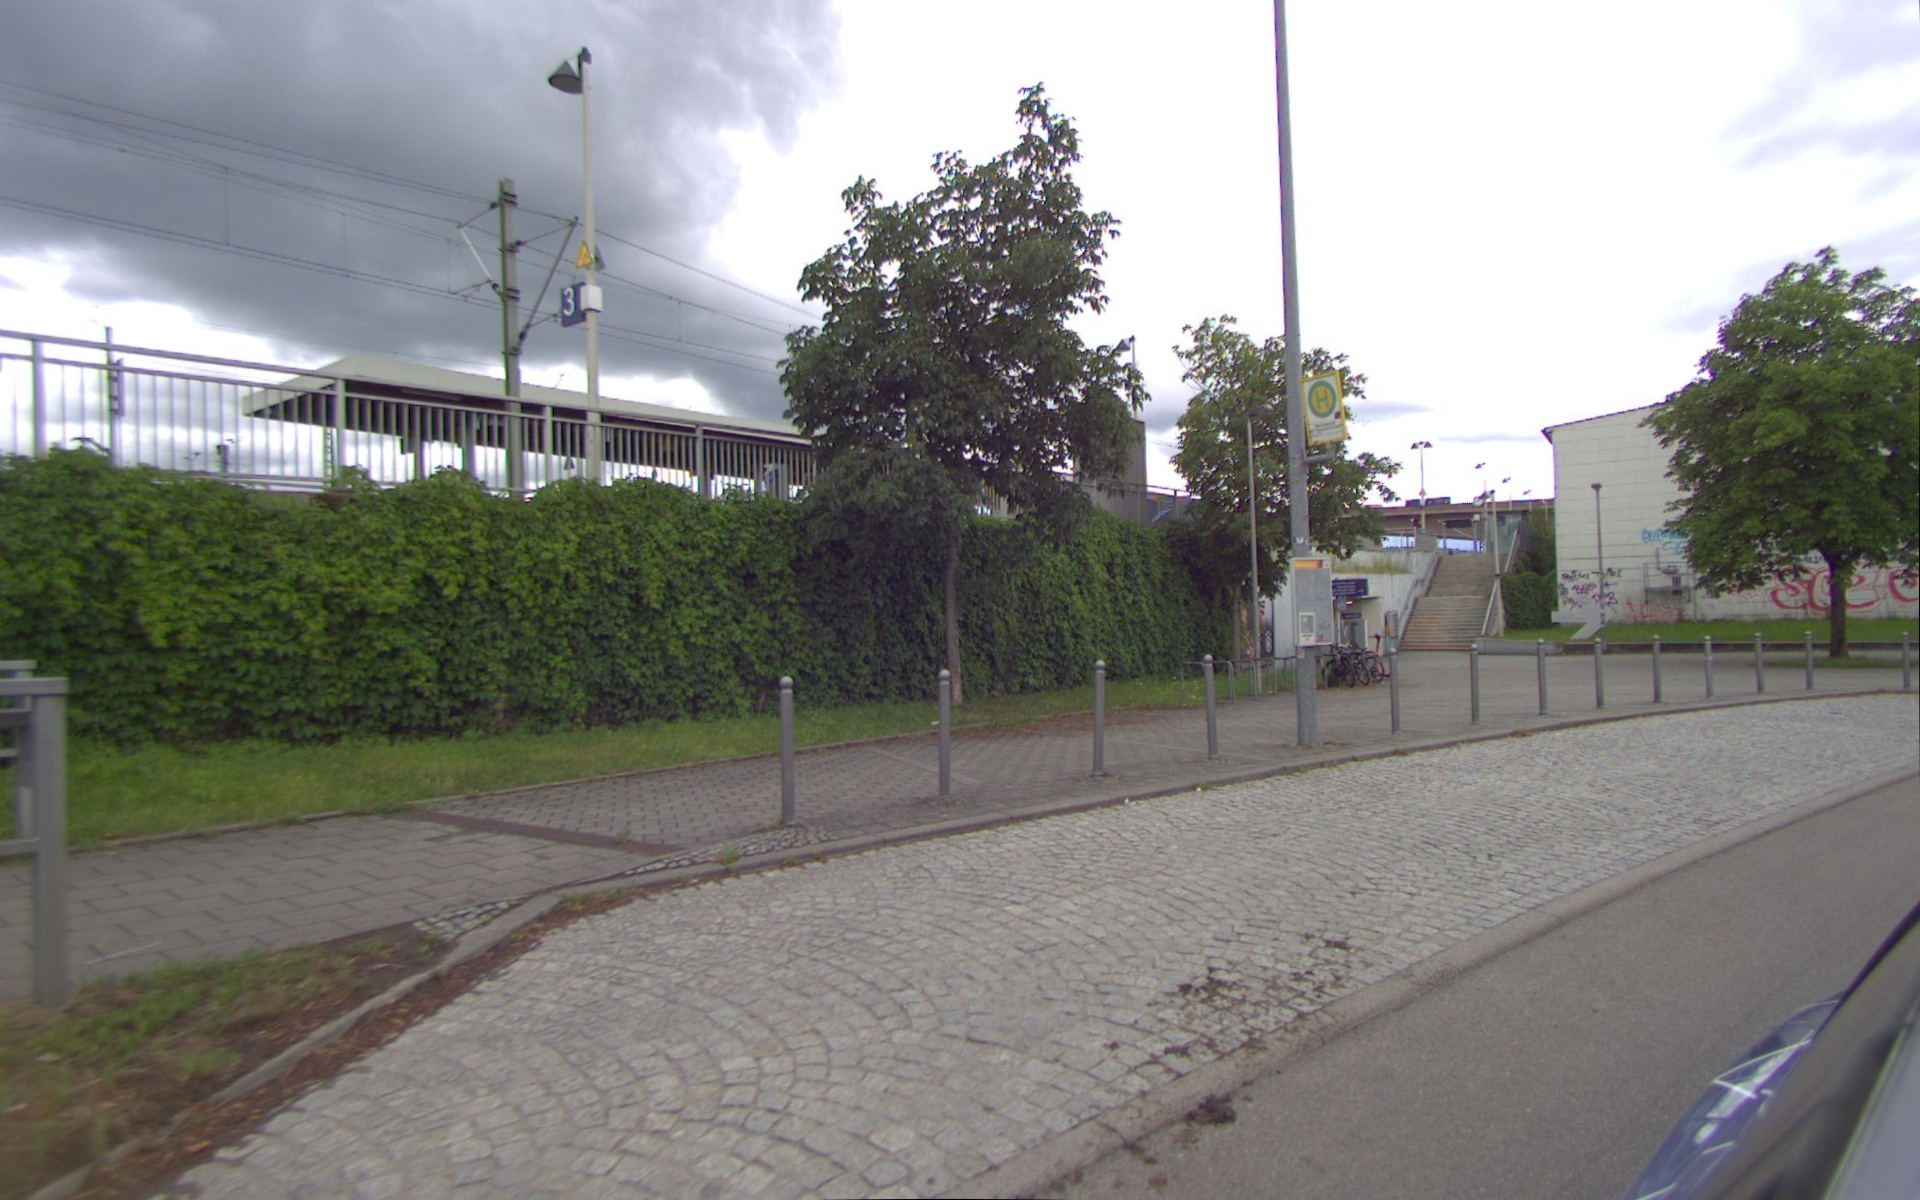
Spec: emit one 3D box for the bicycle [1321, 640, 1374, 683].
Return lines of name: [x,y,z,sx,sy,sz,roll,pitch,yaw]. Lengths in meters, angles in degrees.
bicycle: [9.485,1.495,24.821,0.681,1.002,1.492,-1,-2,-1]

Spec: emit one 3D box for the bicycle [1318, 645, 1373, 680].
bicycle: [9.844,1.591,25.897,0.454,0.865,1.582,0,-3,-15]

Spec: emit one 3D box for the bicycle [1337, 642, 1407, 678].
bicycle: [10.786,1.581,26.565,0.500,0.876,1.975,0,-4,-18]

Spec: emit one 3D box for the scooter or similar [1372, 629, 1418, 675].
scooter or similar: [11.942,1.425,27.815,0.458,1.222,1.193,-1,-3,-15]
